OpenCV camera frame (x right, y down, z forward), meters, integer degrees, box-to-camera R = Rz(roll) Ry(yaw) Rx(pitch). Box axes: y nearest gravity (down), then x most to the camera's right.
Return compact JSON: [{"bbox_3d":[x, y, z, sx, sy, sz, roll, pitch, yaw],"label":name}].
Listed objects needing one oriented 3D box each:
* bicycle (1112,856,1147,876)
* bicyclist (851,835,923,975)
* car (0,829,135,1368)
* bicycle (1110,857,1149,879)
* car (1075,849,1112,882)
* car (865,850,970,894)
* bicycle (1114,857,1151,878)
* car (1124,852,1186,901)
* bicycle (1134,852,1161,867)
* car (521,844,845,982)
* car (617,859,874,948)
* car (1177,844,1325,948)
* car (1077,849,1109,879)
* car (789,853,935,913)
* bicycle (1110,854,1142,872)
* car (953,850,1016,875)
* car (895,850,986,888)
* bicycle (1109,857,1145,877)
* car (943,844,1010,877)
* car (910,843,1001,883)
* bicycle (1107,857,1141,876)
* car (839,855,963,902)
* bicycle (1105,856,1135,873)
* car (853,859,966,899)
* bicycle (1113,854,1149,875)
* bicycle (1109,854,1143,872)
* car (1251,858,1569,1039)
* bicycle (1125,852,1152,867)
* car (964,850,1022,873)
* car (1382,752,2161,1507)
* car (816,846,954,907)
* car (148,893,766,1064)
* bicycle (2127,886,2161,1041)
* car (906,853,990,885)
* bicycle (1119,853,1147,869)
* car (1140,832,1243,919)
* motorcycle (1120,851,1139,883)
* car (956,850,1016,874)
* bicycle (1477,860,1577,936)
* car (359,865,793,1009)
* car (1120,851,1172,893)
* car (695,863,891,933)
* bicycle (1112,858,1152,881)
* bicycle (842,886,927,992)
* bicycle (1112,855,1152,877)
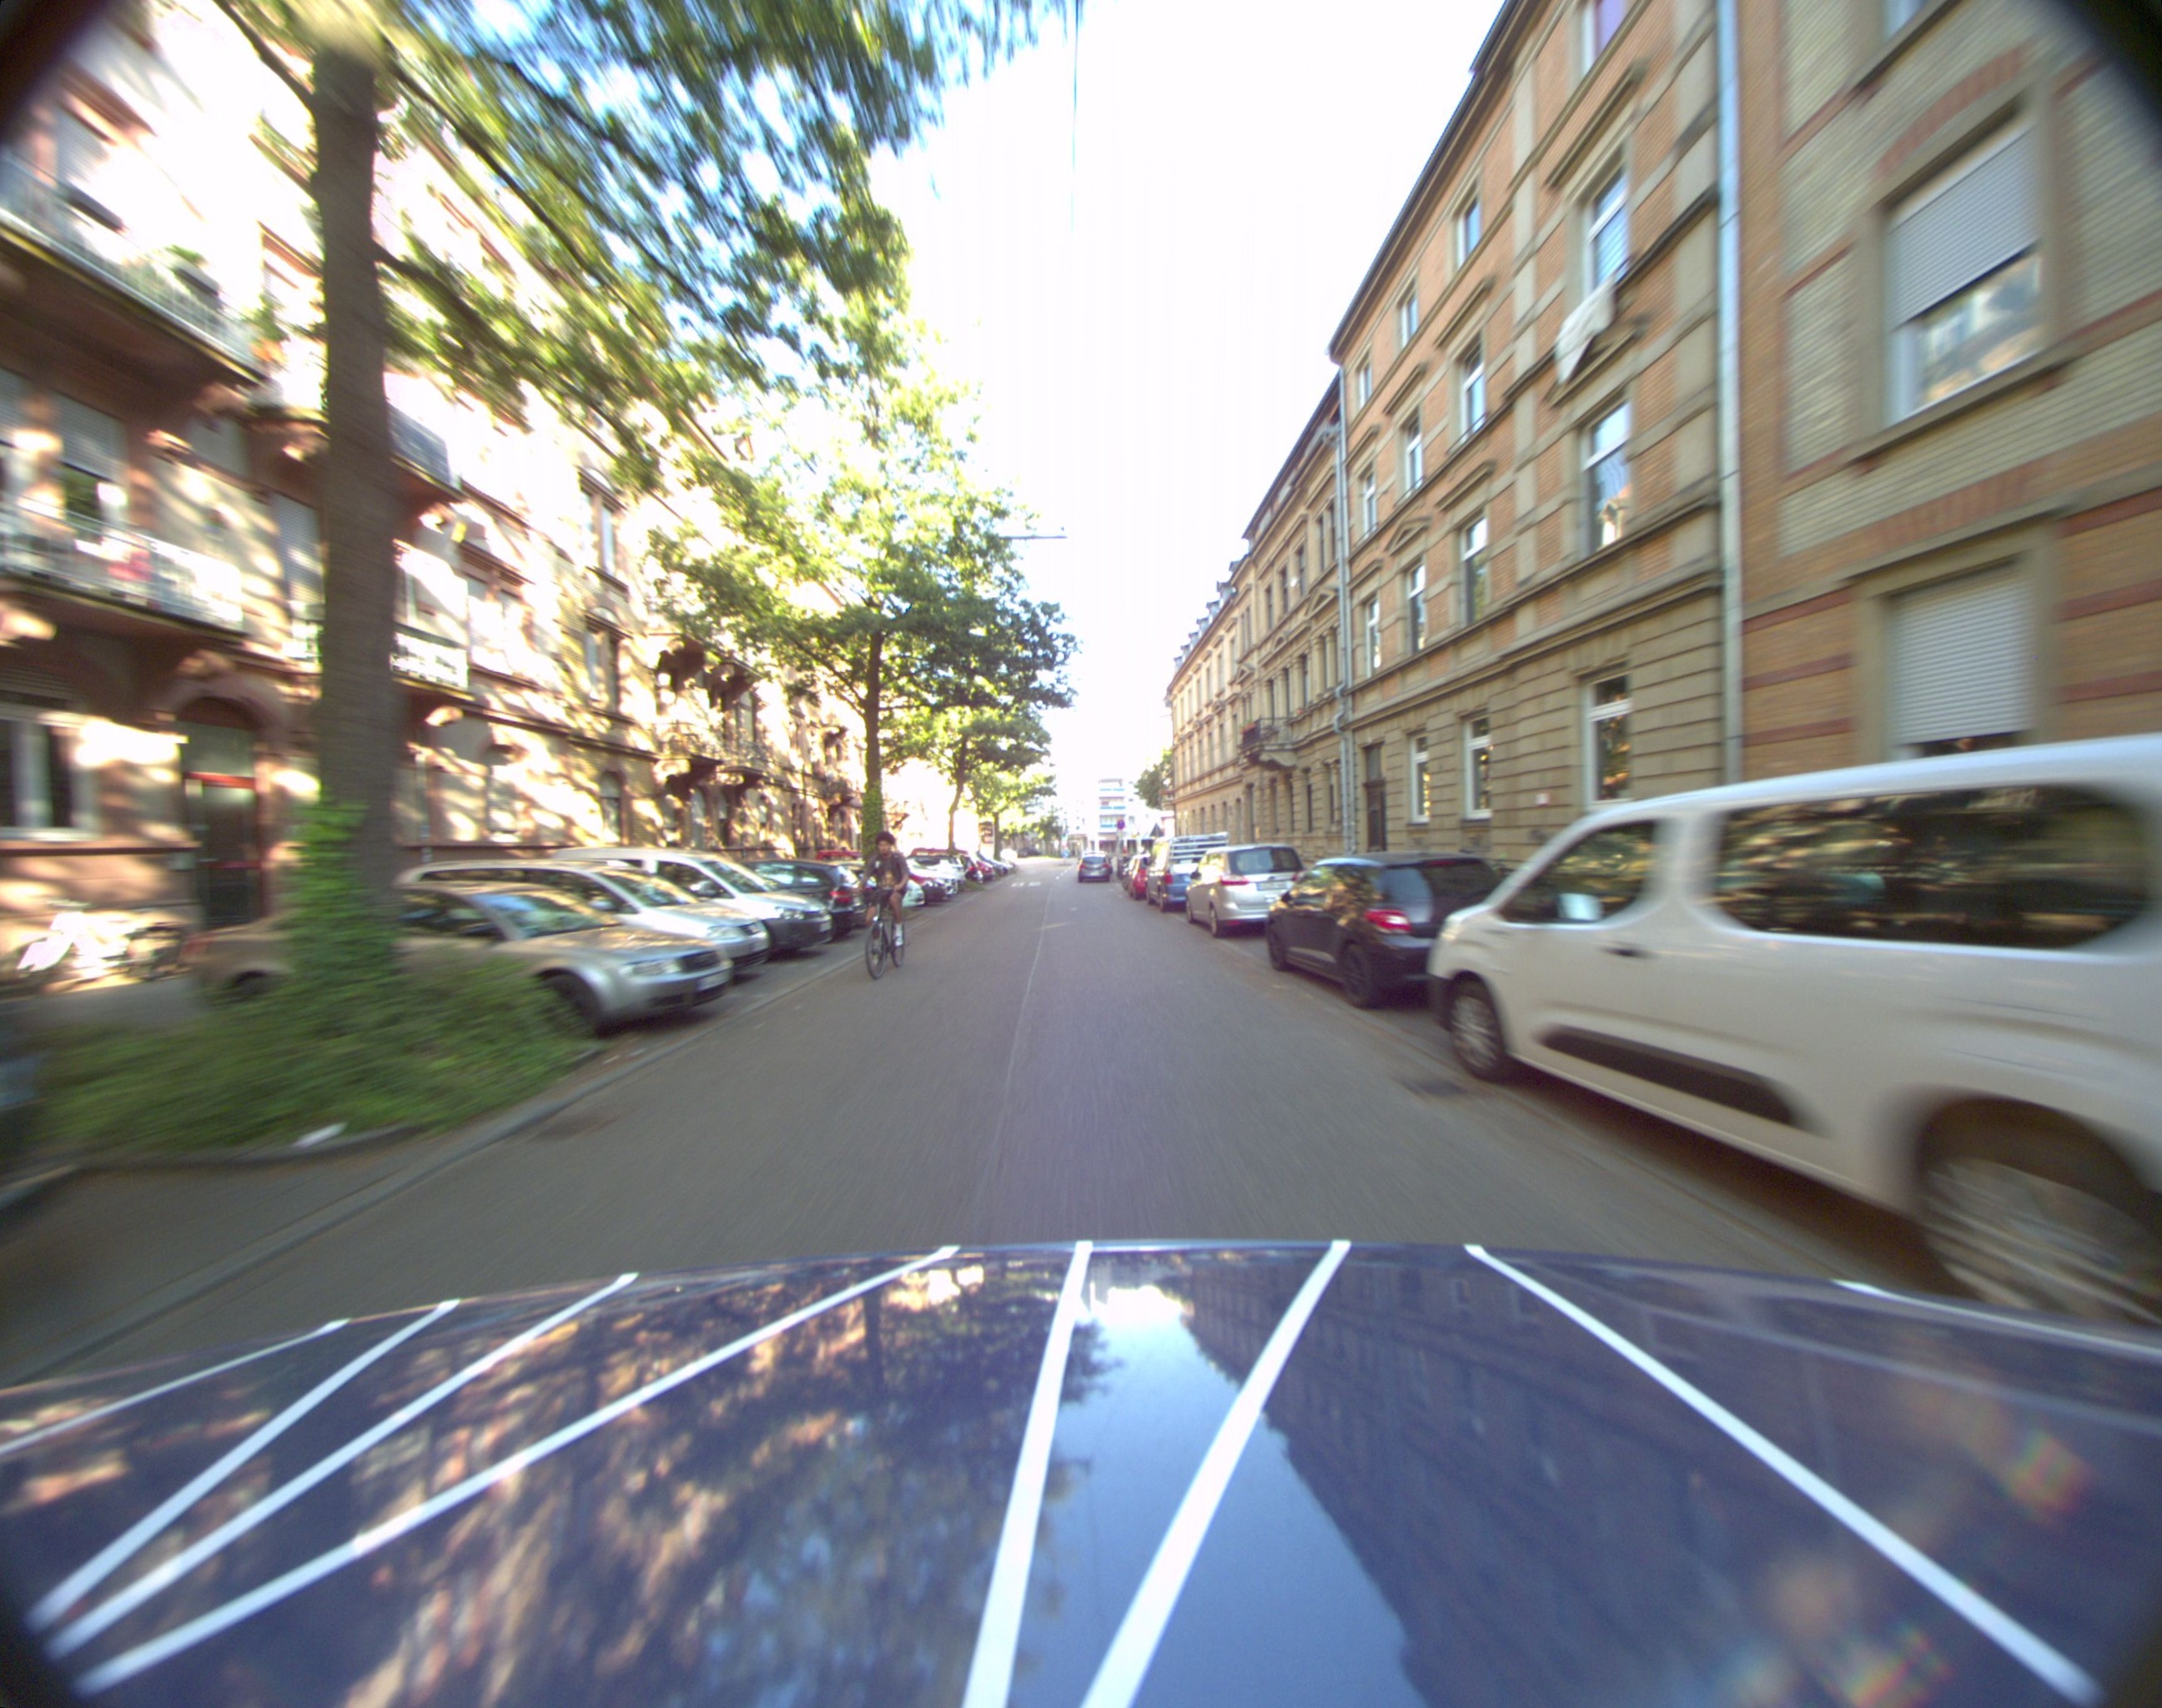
[{"bbox_3d":[2.937,0.732,45.831,2.043,1.092,0.499,-3,1,0],"label":"bicycle"},{"bbox_3d":[-2.713,0.681,10.756,0.712,1.865,1.120,-1,1,-2],"label":"bicyclist"},{"bbox_3d":[-5.798,0.871,1.413,4.684,1.879,1.904,-1,0,-23],"label":"car"},{"bbox_3d":[2.679,0.759,41.991,2.043,1.092,0.587,-3,1,0],"label":"bicycle"},{"bbox_3d":[0.664,0.577,41.564,1.868,1.620,3.824,-3,1,0],"label":"car"},{"bbox_3d":[-6.923,0.749,32.481,4.057,1.612,1.780,3,1,-1],"label":"car"},{"bbox_3d":[2.920,0.746,43.094,2.043,1.092,0.499,-3,1,0],"label":"bicycle"},{"bbox_3d":[2.503,0.724,26.478,1.641,1.482,3.824,-3,1,-2],"label":"car"},{"bbox_3d":[5.369,0.433,61.315,2.041,1.092,0.500,-3,1,11],"label":"bicycle"},{"bbox_3d":[-6.299,0.885,12.411,4.242,1.875,1.782,-3,1,0],"label":"car"},{"bbox_3d":[-6.403,0.925,14.882,4.243,1.579,1.738,1,1,-3],"label":"car"},{"bbox_3d":[3.082,0.681,14.673,1.771,1.648,4.157,-3,1,-2],"label":"car"},{"bbox_3d":[0.698,0.551,45.927,1.745,1.630,3.824,-3,1,0],"label":"car"},{"bbox_3d":[-6.478,0.840,22.743,3.844,1.673,1.738,1,1,0],"label":"car"},{"bbox_3d":[2.930,0.589,49.368,2.043,1.092,0.499,-3,1,0],"label":"bicycle"},{"bbox_3d":[-6.653,0.597,52.688,4.057,1.521,1.780,3,1,-1],"label":"car"},{"bbox_3d":[-6.800,0.713,37.148,4.057,1.612,1.780,3,1,-1],"label":"car"},{"bbox_3d":[2.737,0.771,45.079,2.043,1.092,0.499,-3,1,0],"label":"bicycle"},{"bbox_3d":[-6.819,0.434,49.799,4.057,1.922,1.780,3,1,-1],"label":"car"},{"bbox_3d":[-6.935,0.493,42.274,4.700,1.966,1.925,3,1,-1],"label":"car"},{"bbox_3d":[2.699,0.770,47.599,2.043,1.092,0.499,-3,1,0],"label":"bicycle"},{"bbox_3d":[-6.476,0.856,27.625,4.057,1.571,1.781,1,1,0],"label":"car"},{"bbox_3d":[2.721,0.725,53.115,2.043,1.092,0.499,-3,1,0],"label":"bicycle"},{"bbox_3d":[-6.755,0.960,30.198,4.057,1.473,1.781,1,0,0],"label":"car"},{"bbox_3d":[2.914,0.625,44.256,2.043,1.092,0.499,-3,1,0],"label":"bicycle"},{"bbox_3d":[2.881,0.572,48.734,2.043,1.092,0.499,-3,1,0],"label":"bicycle"},{"bbox_3d":[3.241,0.810,8.380,1.641,1.413,3.824,-3,1,-3],"label":"car"},{"bbox_3d":[4.550,0.465,60.107,2.042,1.092,0.500,-3,1,8],"label":"bicycle"},{"bbox_3d":[-6.589,0.528,57.241,4.057,1.521,1.780,3,1,-1],"label":"car"},{"bbox_3d":[3.410,0.614,3.671,1.847,1.823,4.605,-3,1,-3],"label":"car"},{"bbox_3d":[-6.418,0.719,25.194,4.057,1.876,1.781,1,1,0],"label":"car"},{"bbox_3d":[-5.732,1.113,7.453,4.469,1.360,1.903,0,0,0],"label":"car"},{"bbox_3d":[7.486,0.737,4.277,0.495,1.017,1.908,-3,1,-2],"label":"bicycle"},{"bbox_3d":[-6.911,0.785,39.781,4.057,1.447,1.780,3,1,-1],"label":"car"},{"bbox_3d":[3.915,0.501,57.673,2.042,1.092,0.500,-3,1,8],"label":"bicycle"},{"bbox_3d":[2.894,0.506,20.956,1.947,2.045,4.743,-3,1,-2],"label":"car"},{"bbox_3d":[2.357,0.601,36.908,0.624,1.482,2.489,-3,1,-1],"label":"motorcycle"},{"bbox_3d":[-6.810,0.586,54.838,4.057,1.521,1.780,3,1,-1],"label":"car"},{"bbox_3d":[7.138,0.669,12.248,0.465,1.089,1.726,-2,1,-4],"label":"bicycle"},{"bbox_3d":[-6.182,0.967,9.776,4.244,1.594,1.902,0,1,-4],"label":"car"},{"bbox_3d":[2.603,0.684,31.046,1.641,1.482,3.824,-3,1,-2],"label":"car"},{"bbox_3d":[-6.495,0.982,17.452,3.845,1.452,1.738,1,0,-3],"label":"car"},{"bbox_3d":[2.692,0.807,40.135,2.043,1.092,0.587,-3,1,0],"label":"bicycle"},{"bbox_3d":[-2.716,1.134,10.714,0.712,1.252,1.887,-1,1,-1],"label":"bicycle"},{"bbox_3d":[2.716,0.655,40.802,2.043,1.092,0.587,-3,1,0],"label":"bicycle"}]
